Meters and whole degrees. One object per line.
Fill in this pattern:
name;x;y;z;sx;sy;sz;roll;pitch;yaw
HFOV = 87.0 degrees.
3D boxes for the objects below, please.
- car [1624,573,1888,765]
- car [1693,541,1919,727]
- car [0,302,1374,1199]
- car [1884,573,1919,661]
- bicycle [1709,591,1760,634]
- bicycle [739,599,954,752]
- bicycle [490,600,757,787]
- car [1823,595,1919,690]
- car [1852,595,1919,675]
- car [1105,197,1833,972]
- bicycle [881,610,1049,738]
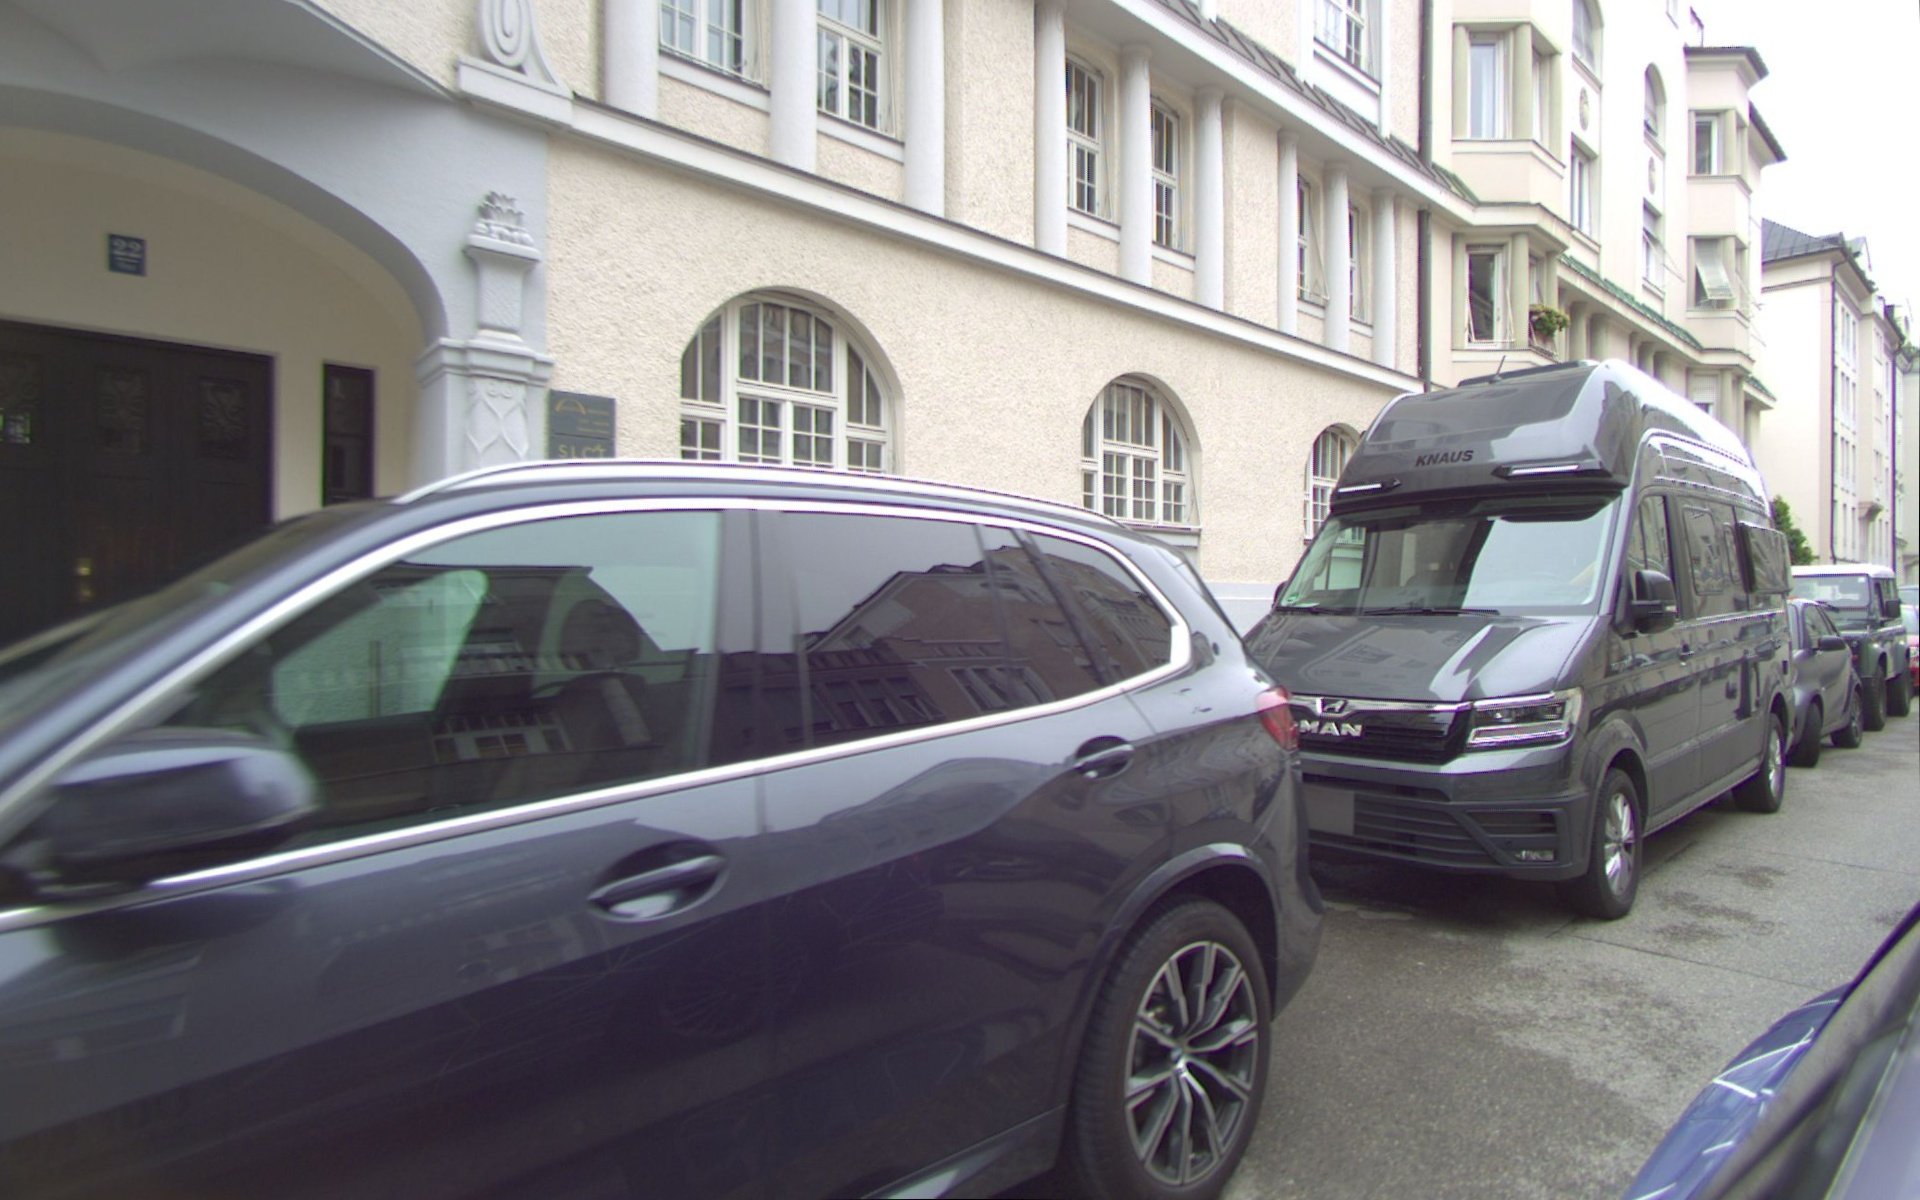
car;8.028;0.583;10.163;2.765;1.646;1.545;0;0;-40
car;11.238;0.363;13.255;4.000;2.065;1.798;0;0;-41
car;-1.166;0.563;2.184;4.593;1.710;1.996;0;-1;-42
car;23.375;0.376;23.919;4.584;1.961;1.878;0;-1;-43
bicycle;21.503;0.341;28.086;1.933;1.131;0.719;0;2;-41
bicycle;-0.917;0.579;8.439;1.753;1.165;0.483;0;0;-33
bicycle;-2.355;0.597;7.236;1.758;1.164;0.482;0;3;-44
car;16.081;0.674;17.378;3.444;1.491;1.494;0;-1;-43
car;18.994;0.655;20.131;3.613;1.491;1.494;0;-1;-43
car;3.820;-0.109;6.775;6.027;2.997;2.257;-1;0;-42
bicycle;0.079;0.652;9.566;1.757;1.082;0.389;0;2;-41
